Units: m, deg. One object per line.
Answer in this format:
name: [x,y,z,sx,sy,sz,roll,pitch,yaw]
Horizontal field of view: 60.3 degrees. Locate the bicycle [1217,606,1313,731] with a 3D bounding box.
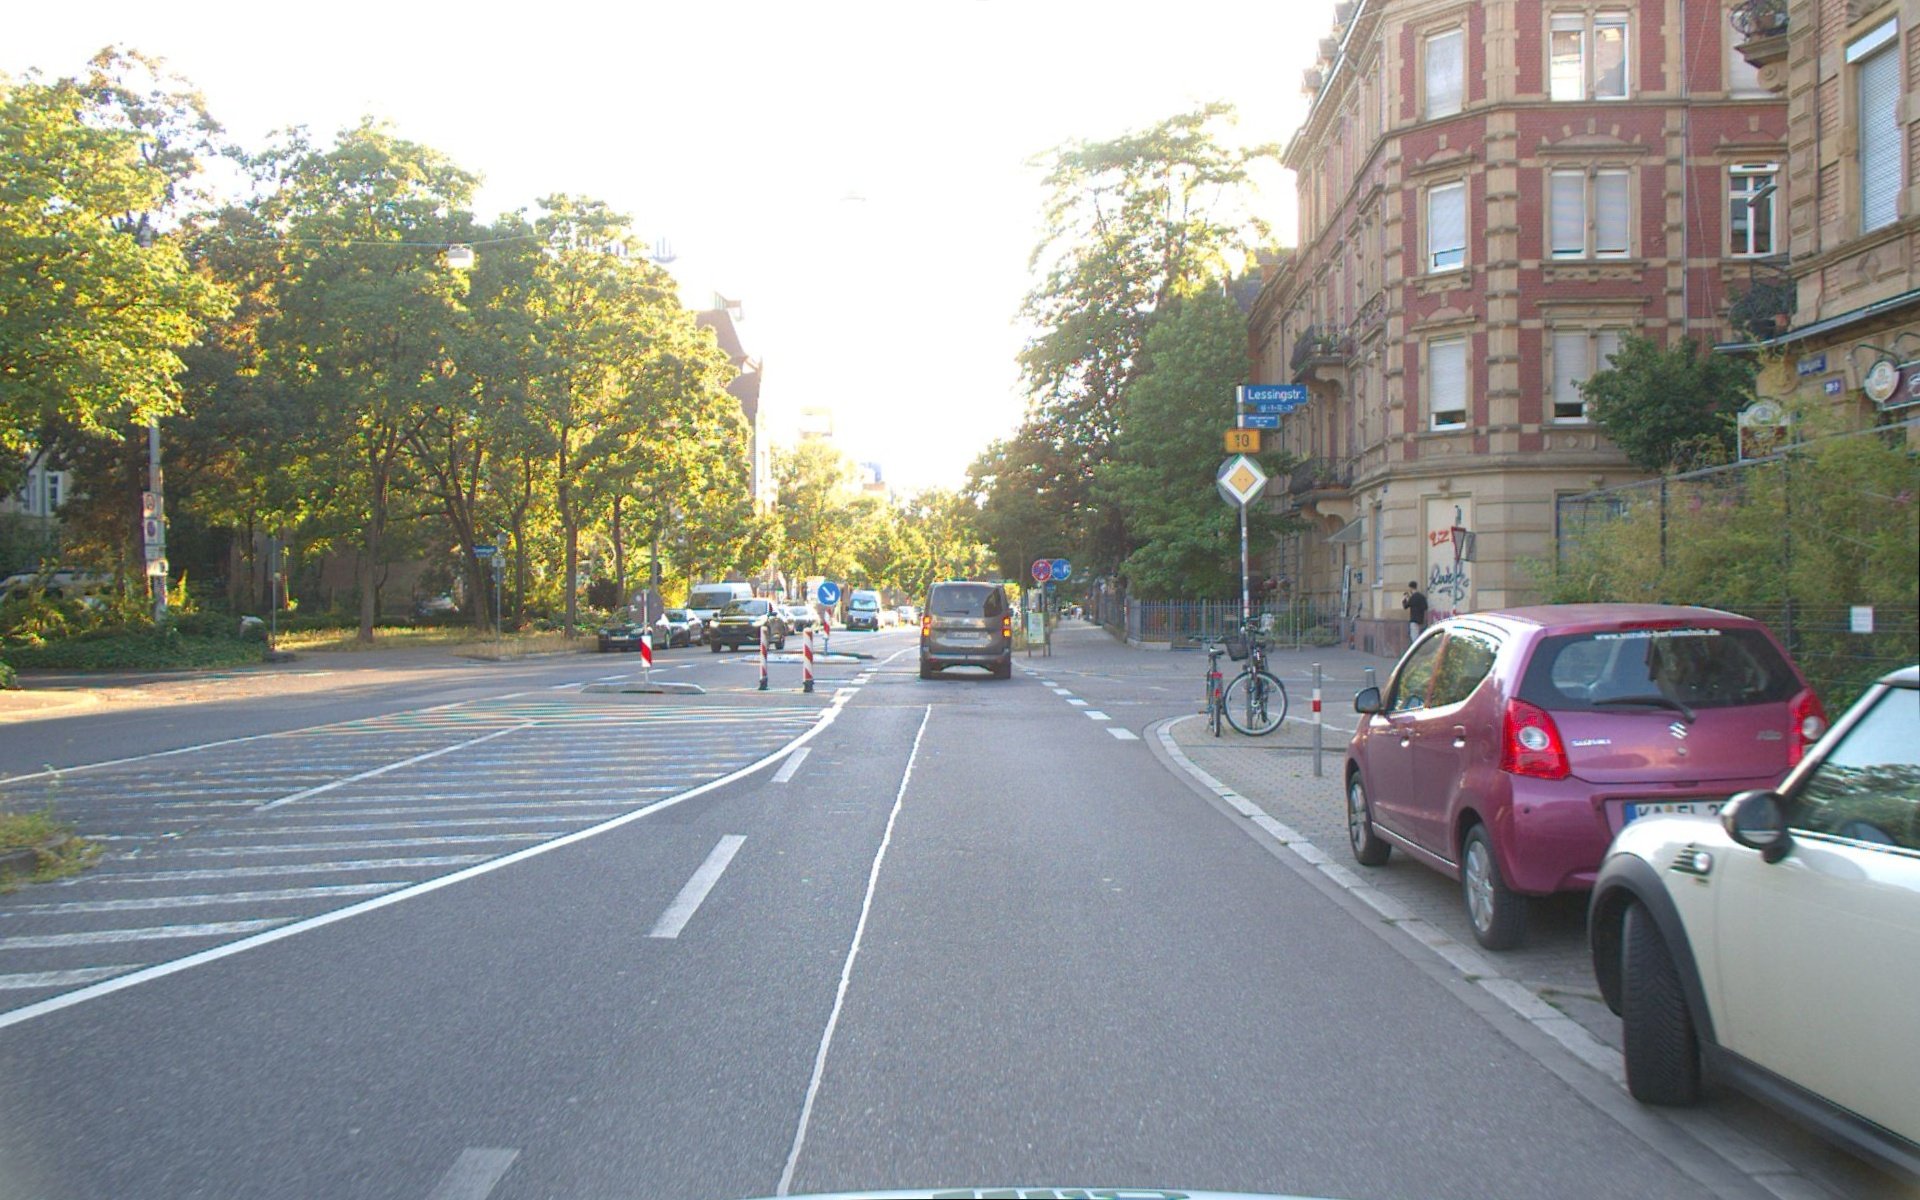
bicycle: [3.446,0.759,18.869,0.554,1.297,2.264,-4,-1,-1]

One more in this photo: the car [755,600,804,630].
car: [-9.011,0.745,82.961,1.699,1.471,4.627,0,0,3]

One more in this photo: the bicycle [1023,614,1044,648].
bicycle: [2.687,1.139,60.736,0.633,1.187,1.931,2,0,0]

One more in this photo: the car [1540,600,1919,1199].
car: [2.954,0.755,3.953,1.643,1.451,3.675,-3,0,-3]

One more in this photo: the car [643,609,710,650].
car: [-10.665,1.088,62.408,1.594,1.454,4.244,-1,0,3]

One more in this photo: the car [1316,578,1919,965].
car: [3.104,0.703,8.595,1.691,1.490,3.547,-3,0,0]

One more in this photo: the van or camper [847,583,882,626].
van or camper: [-6.333,0.279,110.058,1.953,2.715,6.037,2,0,-1]

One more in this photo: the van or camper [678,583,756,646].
van or camper: [-10.197,0.594,69.886,2.047,2.511,6.308,-1,0,3]

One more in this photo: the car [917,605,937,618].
car: [-3.791,1.307,190.841,1.952,1.439,4.239,2,0,4]

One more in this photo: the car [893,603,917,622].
car: [-4.634,1.029,139.118,1.661,1.477,4.001,2,0,3]

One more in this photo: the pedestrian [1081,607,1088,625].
pedestrian: [11.463,1.457,152.472,0.631,1.661,0.656,2,0,4]

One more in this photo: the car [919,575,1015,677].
car: [0.132,0.501,34.073,1.849,1.958,3.839,-1,0,0]

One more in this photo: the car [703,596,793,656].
car: [-6.750,0.804,53.194,1.837,1.735,4.570,-3,0,5]

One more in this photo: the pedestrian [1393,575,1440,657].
pedestrian: [10.464,0.367,37.935,0.730,1.809,0.831,-3,0,0]

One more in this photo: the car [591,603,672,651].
car: [-11.176,0.894,56.601,1.589,1.533,4.546,-1,0,4]

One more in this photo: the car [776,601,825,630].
car: [-8.604,0.804,89.489,1.952,1.509,4.831,0,0,3]

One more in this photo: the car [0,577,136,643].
car: [-36.141,0.391,66.203,2.229,2.529,5.212,0,0,37]

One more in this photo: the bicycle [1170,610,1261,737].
bicycle: [2.882,0.820,18.848,0.554,1.322,2.264,-4,-1,-1]

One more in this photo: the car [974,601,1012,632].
car: [1.823,0.872,90.007,1.952,1.662,4.001,0,0,2]

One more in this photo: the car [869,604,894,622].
car: [-5.922,0.946,124.589,1.504,1.270,3.615,2,0,3]
